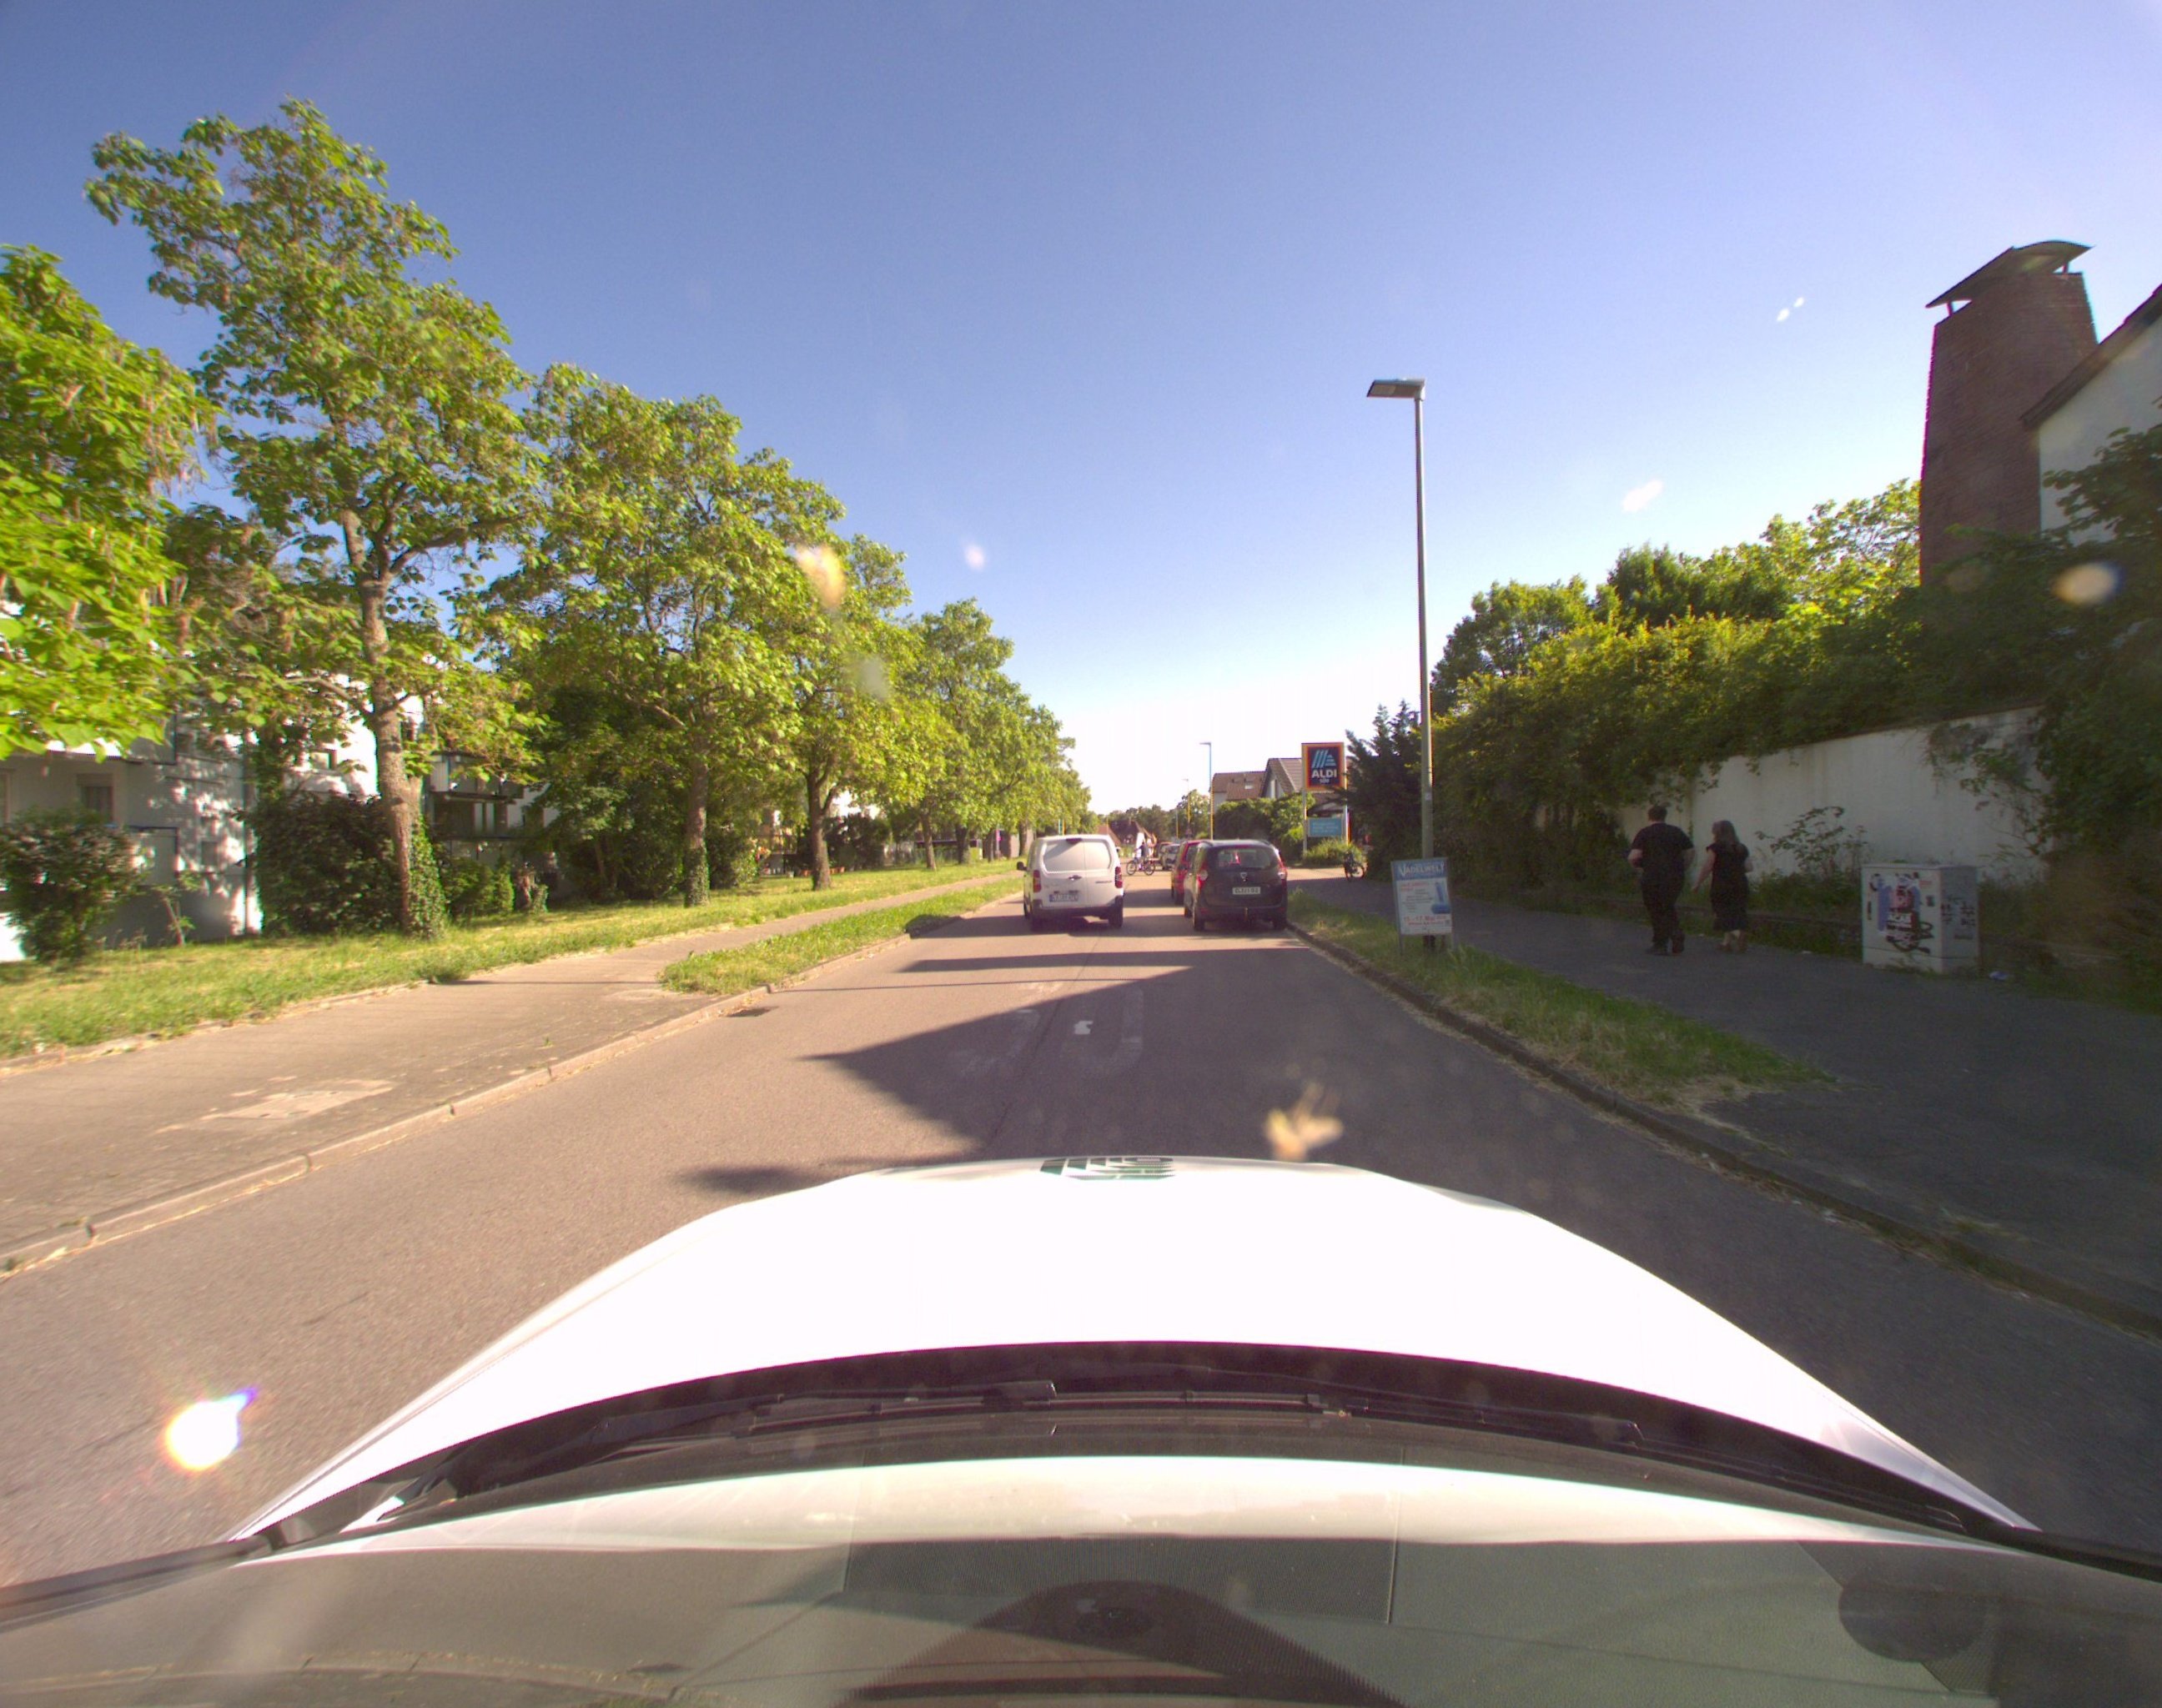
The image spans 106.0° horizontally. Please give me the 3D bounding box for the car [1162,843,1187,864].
[{"bbox_3d":[7.012,-0.064,61.309,1.799,1.443,4.370,-1,1,5],"label":"car"}]

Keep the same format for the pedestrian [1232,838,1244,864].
[{"bbox_3d":[11.180,-0.224,58.047,0.793,1.781,0.812,-1,0,13],"label":"pedestrian"}]

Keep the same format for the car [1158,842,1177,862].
[{"bbox_3d":[8.348,-0.193,78.722,1.716,1.837,4.007,-1,0,6],"label":"car"}]

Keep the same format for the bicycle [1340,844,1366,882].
[{"bbox_3d":[9.289,0.293,27.778,0.714,1.221,1.906,-3,-1,21],"label":"bicycle"}]

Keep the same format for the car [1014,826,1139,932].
[{"bbox_3d":[-0.239,0.435,17.064,1.993,1.881,4.276,-2,1,-9],"label":"car"}]

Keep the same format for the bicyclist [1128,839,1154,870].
[{"bbox_3d":[3.101,0.050,42.032,0.954,1.584,0.914,-1,-1,45],"label":"bicyclist"}]

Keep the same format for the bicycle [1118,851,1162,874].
[{"bbox_3d":[3.019,0.438,42.005,0.794,1.138,2.251,-2,0,-45],"label":"bicycle"}]

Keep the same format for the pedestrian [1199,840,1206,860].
[{"bbox_3d":[9.943,-0.355,66.597,0.563,1.637,0.548,-1,0,10],"label":"pedestrian"}]

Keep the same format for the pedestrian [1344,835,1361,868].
[{"bbox_3d":[13.873,-0.143,41.592,0.685,1.631,0.781,-1,0,26],"label":"pedestrian"}]

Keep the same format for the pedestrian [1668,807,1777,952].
[{"bbox_3d":[7.549,0.291,9.622,0.571,1.609,0.793,-3,-1,1],"label":"pedestrian"}]

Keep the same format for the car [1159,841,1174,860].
[{"bbox_3d":[11.773,-0.429,112.512,1.858,2.562,4.772,0,-1,3],"label":"car"}]

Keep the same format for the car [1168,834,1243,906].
[{"bbox_3d":[3.406,0.381,23.040,1.831,1.805,4.661,-2,1,6],"label":"car"}]

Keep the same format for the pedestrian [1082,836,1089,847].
[{"bbox_3d":[0.582,-1.655,107.283,0.505,1.445,0.643,2,0,38],"label":"pedestrian"}]

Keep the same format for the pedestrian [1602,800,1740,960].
[{"bbox_3d":[6.801,0.293,9.451,0.801,1.717,0.984,-3,-1,1],"label":"pedestrian"}]

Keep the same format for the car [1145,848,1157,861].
[{"bbox_3d":[11.259,0.044,131.688,1.796,2.069,4.004,-2,-1,3],"label":"car"}]

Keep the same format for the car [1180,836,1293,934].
[{"bbox_3d":[2.961,0.513,16.322,1.717,1.656,4.358,-2,1,5],"label":"car"}]

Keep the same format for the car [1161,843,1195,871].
[{"bbox_3d":[5.869,0.175,49.747,1.673,1.599,4.029,-1,0,1],"label":"car"}]

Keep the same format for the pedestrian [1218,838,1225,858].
[{"bbox_3d":[12.023,-0.505,69.605,0.563,1.637,0.548,-1,0,10],"label":"pedestrian"}]
